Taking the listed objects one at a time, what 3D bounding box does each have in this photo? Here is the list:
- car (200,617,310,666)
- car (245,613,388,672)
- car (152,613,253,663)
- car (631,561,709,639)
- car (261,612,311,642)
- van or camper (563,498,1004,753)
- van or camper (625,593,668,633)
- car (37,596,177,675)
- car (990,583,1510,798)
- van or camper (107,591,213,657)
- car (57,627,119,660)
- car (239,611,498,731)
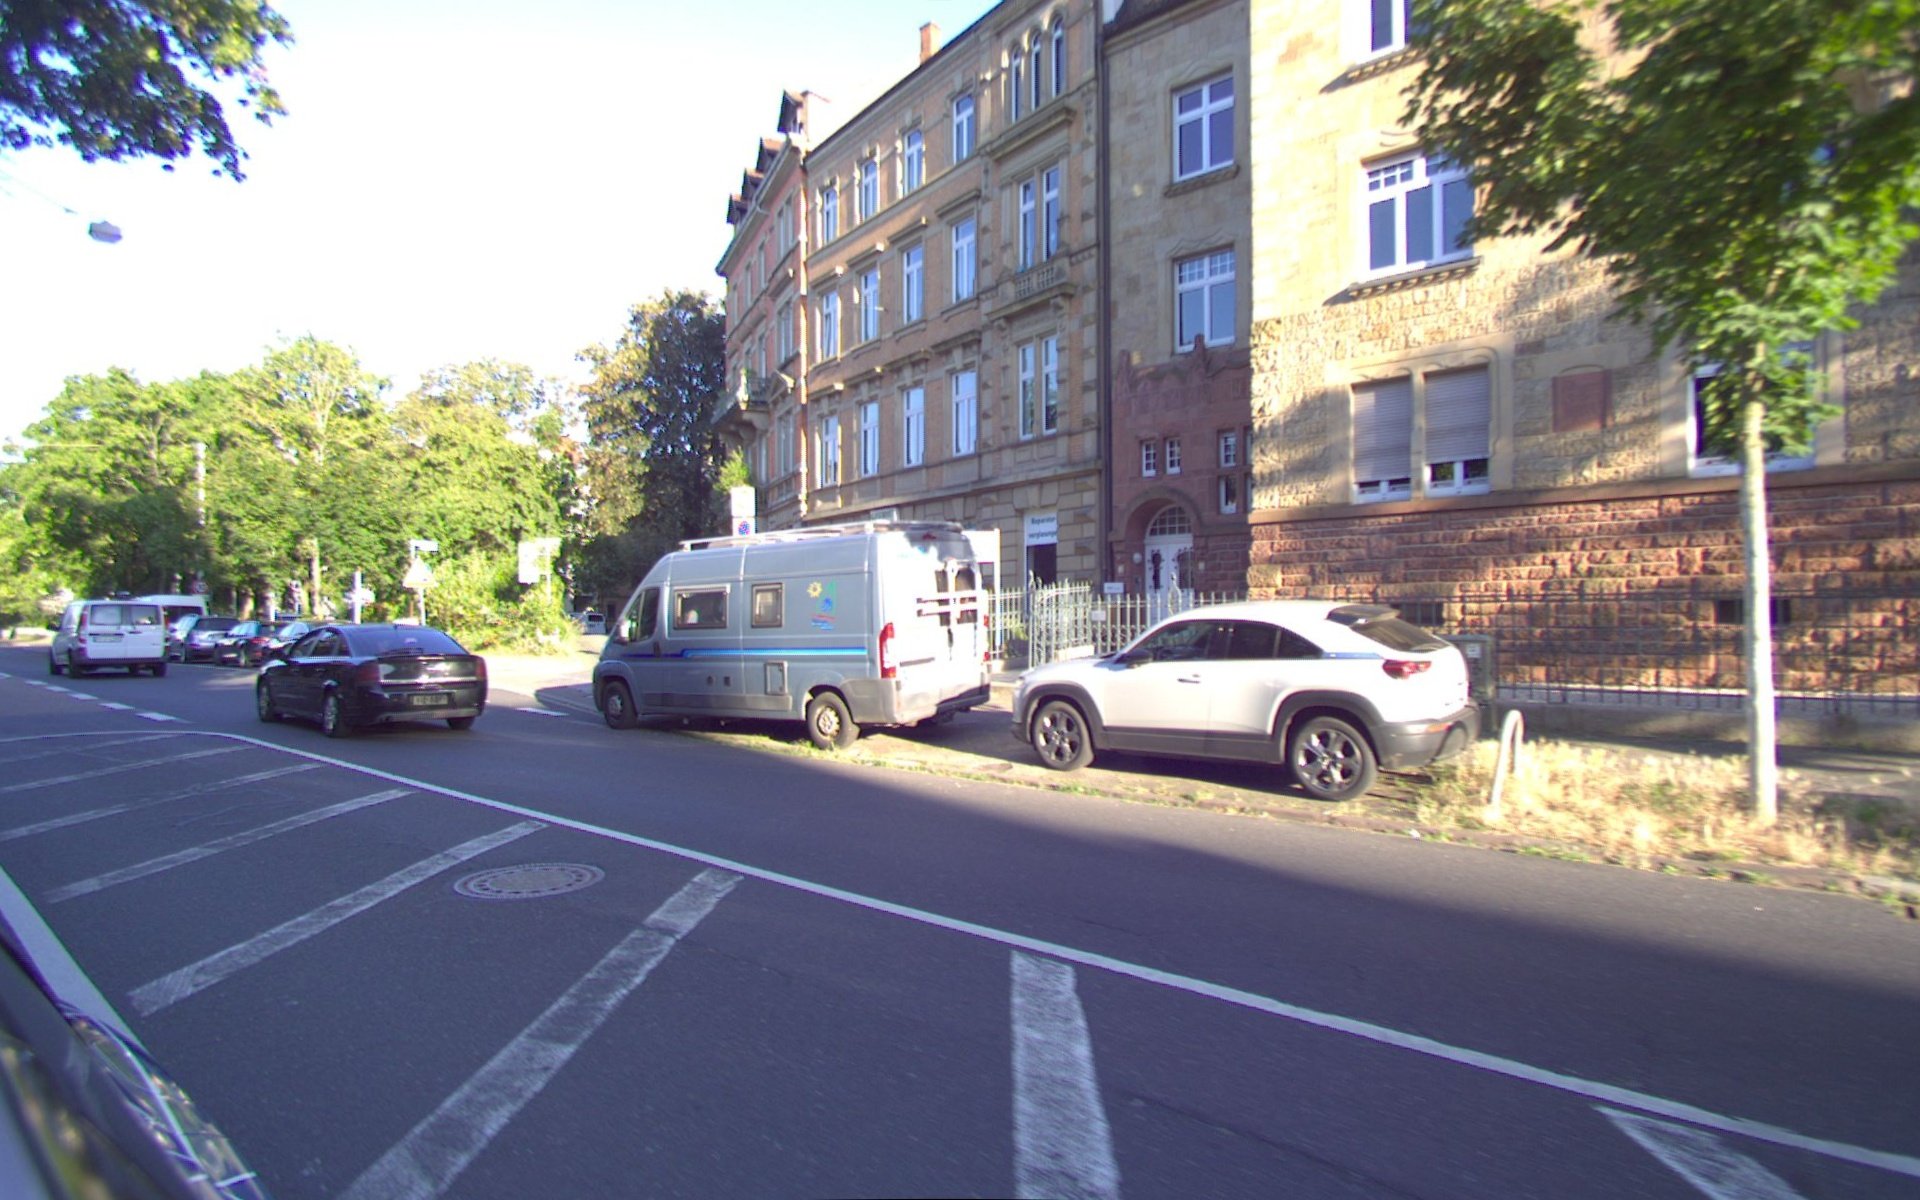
[{"bbox_3d":[-22.260,1.280,31.878,4.621,1.456,1.718,-2,-2,40],"label":"car"},{"bbox_3d":[-17.700,1.120,27.744,4.825,1.495,1.973,-1,-2,40],"label":"car"},{"bbox_3d":[-26.825,1.316,35.811,4.567,1.657,1.847,-1,-2,40],"label":"car"},{"bbox_3d":[-11.228,0.110,38.939,2.090,2.760,5.327,1,-2,-24],"label":"car"},{"bbox_3d":[-53.605,2.137,80.452,5.098,2.306,2.191,-2,-1,43],"label":"car"},{"bbox_3d":[-2.520,0.276,13.244,6.027,2.688,1.976,-1,2,37],"label":"van or camper"},{"bbox_3d":[-19.754,0.887,63.956,2.174,2.371,5.322,1,-2,-12],"label":"van or camper"},{"bbox_3d":[-21.909,0.900,25.928,5.167,1.845,1.972,-1,-3,41],"label":"car"},{"bbox_3d":[2.507,0.687,9.391,4.298,1.546,1.729,-1,0,40],"label":"car"},{"bbox_3d":[-32.412,1.011,40.915,6.300,2.487,2.070,-2,-3,40],"label":"van or camper"},{"bbox_3d":[-41.960,2.048,48.665,4.541,1.518,1.607,-1,-2,41],"label":"car"},{"bbox_3d":[-8.180,0.892,13.834,4.302,1.397,1.741,-2,-3,41],"label":"car"}]
